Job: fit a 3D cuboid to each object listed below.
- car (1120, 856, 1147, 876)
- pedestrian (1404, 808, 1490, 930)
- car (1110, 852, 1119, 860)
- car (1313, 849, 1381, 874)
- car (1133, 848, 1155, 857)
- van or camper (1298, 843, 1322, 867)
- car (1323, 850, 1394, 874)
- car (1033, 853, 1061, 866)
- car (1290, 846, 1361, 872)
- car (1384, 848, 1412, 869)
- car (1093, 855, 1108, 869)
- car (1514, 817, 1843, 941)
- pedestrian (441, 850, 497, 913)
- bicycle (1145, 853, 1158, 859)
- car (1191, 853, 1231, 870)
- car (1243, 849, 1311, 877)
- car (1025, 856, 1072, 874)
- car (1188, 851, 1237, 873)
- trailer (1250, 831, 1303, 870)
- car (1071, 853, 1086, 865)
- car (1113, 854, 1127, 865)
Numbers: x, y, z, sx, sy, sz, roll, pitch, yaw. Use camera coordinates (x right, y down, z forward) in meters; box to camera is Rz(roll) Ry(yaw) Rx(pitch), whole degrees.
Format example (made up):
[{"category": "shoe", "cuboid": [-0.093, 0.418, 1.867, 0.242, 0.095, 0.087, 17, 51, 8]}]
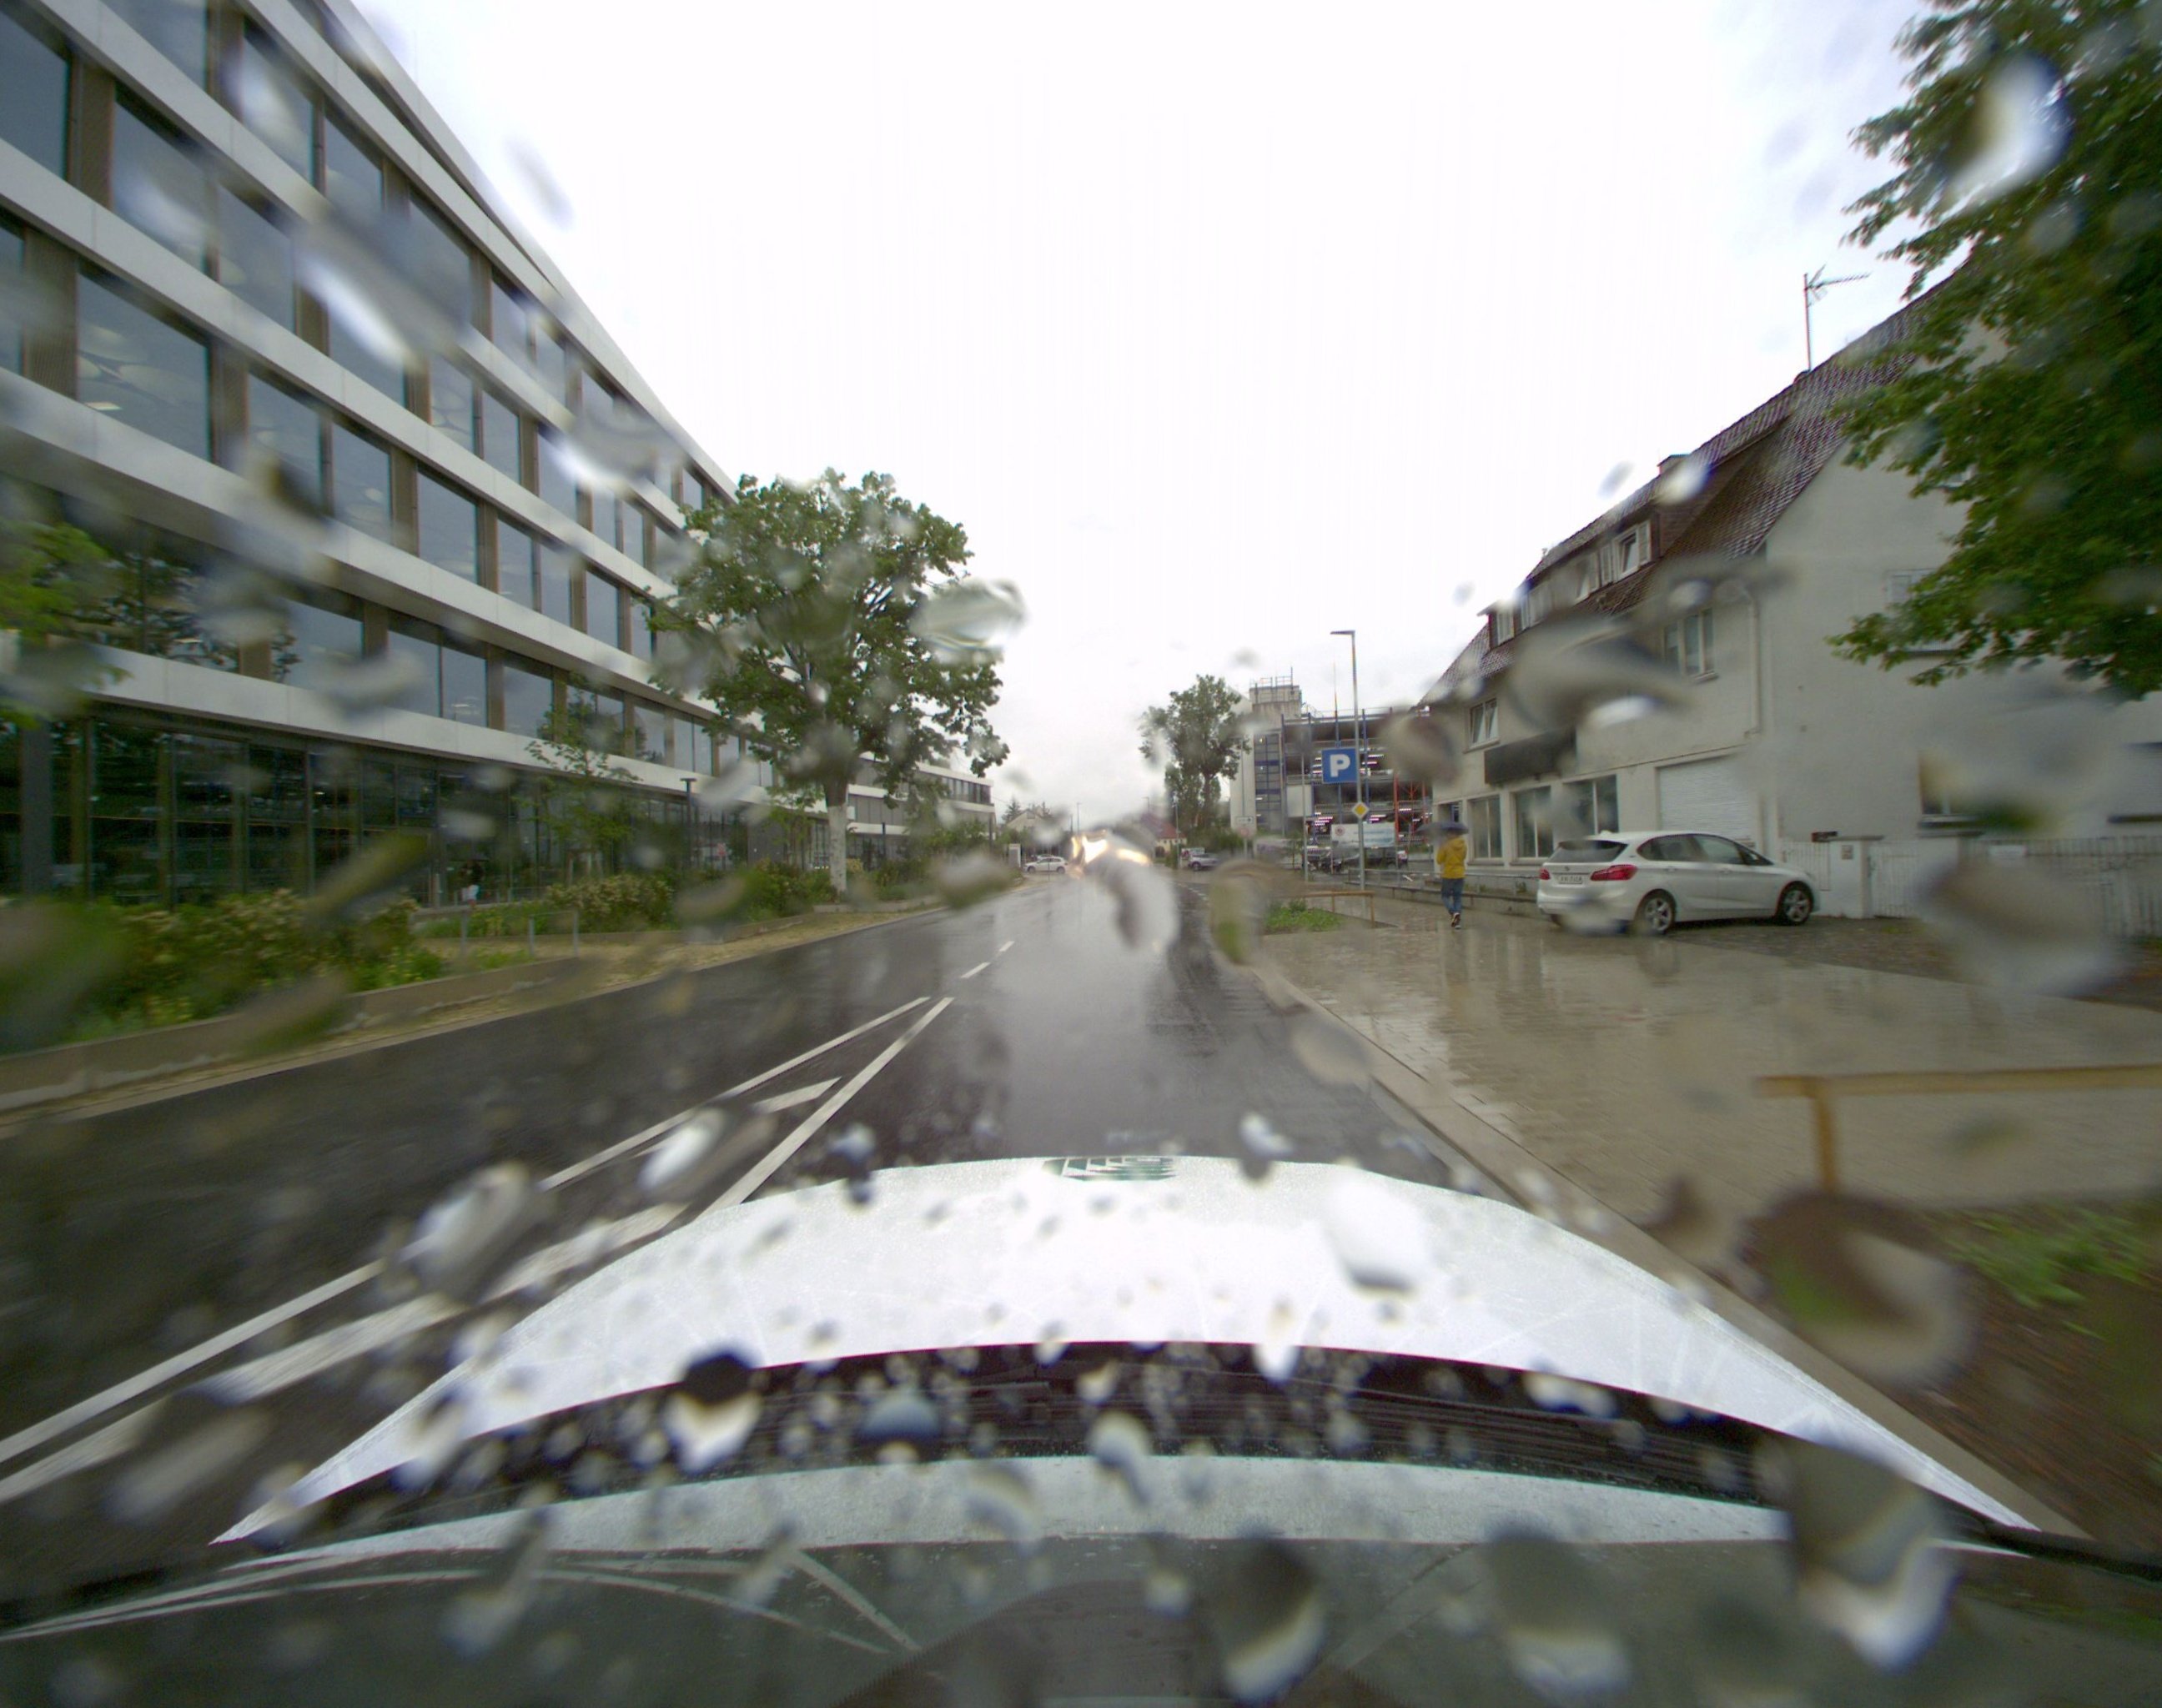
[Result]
[{"category": "car", "cuboid": [4.553, 1.060, 71.169, 1.942, 1.556, 3.998, 2, -2, -1]}, {"category": "pedestrian", "cuboid": [6.442, 0.260, 14.411, 0.856, 2.013, 1.195, -4, -1, 0]}, {"category": "car", "cuboid": [7.415, 0.428, 181.295, 1.986, 1.706, 4.001, 2, -2, 2]}, {"category": "car", "cuboid": [16.760, 0.450, 51.441, 3.716, 1.449, 1.730, -2, -1, -2]}, {"category": "car", "cuboid": [12.807, -0.322, 165.389, 4.101, 1.706, 1.787, 2, -2, -2]}, {"category": "van or camper", "cuboid": [20.664, 0.071, 73.529, 1.825, 2.036, 4.477, -2, 0, 13]}, {"category": "car", "cuboid": [16.686, 0.482, 49.058, 3.716, 1.315, 1.692, -2, -1, -2]}, {"category": "car", "cuboid": [-5.797, 0.903, 138.294, 4.745, 2.014, 1.996, 2, -2, -5]}, {"category": "car", "cuboid": [16.862, 0.343, 56.299, 4.342, 1.651, 1.844, -2, 0, -1]}, {"category": "car", "cuboid": [27.716, 0.361, 71.355, 1.718, 1.679, 4.015, -3, 0, 14]}, {"category": "car", "cuboid": [2.625, 1.060, 110.026, 1.996, 1.818, 4.980, -1, 0, 1]}, {"category": "car", "cuboid": [9.470, 0.350, 13.052, 4.133, 1.580, 1.991, -3, 0, -13]}, {"category": "pedestrian", "cuboid": [-17.226, 0.780, 22.943, 0.721, 1.704, 0.957, 2, -2, 5]}, {"category": "bicycle", "cuboid": [13.711, 0.399, 158.745, 0.672, 1.067, 3.594, 3, -2, -29]}, {"category": "car", "cuboid": [12.146, 0.701, 76.194, 3.598, 1.494, 1.812, -3, -1, 10]}, {"category": "car", "cuboid": [11.931, 0.540, 49.676, 3.712, 1.529, 1.650, -3, -1, 1]}, {"category": "car", "cuboid": [-2.824, 0.964, 70.987, 3.912, 1.423, 1.899, -1, 0, 2]}, {"category": "car", "cuboid": [11.882, 0.709, 73.424, 4.180, 1.650, 2.006, -3, -1, 11]}, {"category": "trailer", "cuboid": [11.286, -0.185, 47.123, 2.690, 2.171, 1.550, -1, 0, 3]}, {"category": "car", "cuboid": [-0.298, 0.689, 115.893, 1.986, 1.629, 4.155, -2, 0, 2]}, {"category": "car", "cuboid": [6.715, 0.956, 140.296, 2.146, 1.706, 4.001, 2, -2, 2]}]
